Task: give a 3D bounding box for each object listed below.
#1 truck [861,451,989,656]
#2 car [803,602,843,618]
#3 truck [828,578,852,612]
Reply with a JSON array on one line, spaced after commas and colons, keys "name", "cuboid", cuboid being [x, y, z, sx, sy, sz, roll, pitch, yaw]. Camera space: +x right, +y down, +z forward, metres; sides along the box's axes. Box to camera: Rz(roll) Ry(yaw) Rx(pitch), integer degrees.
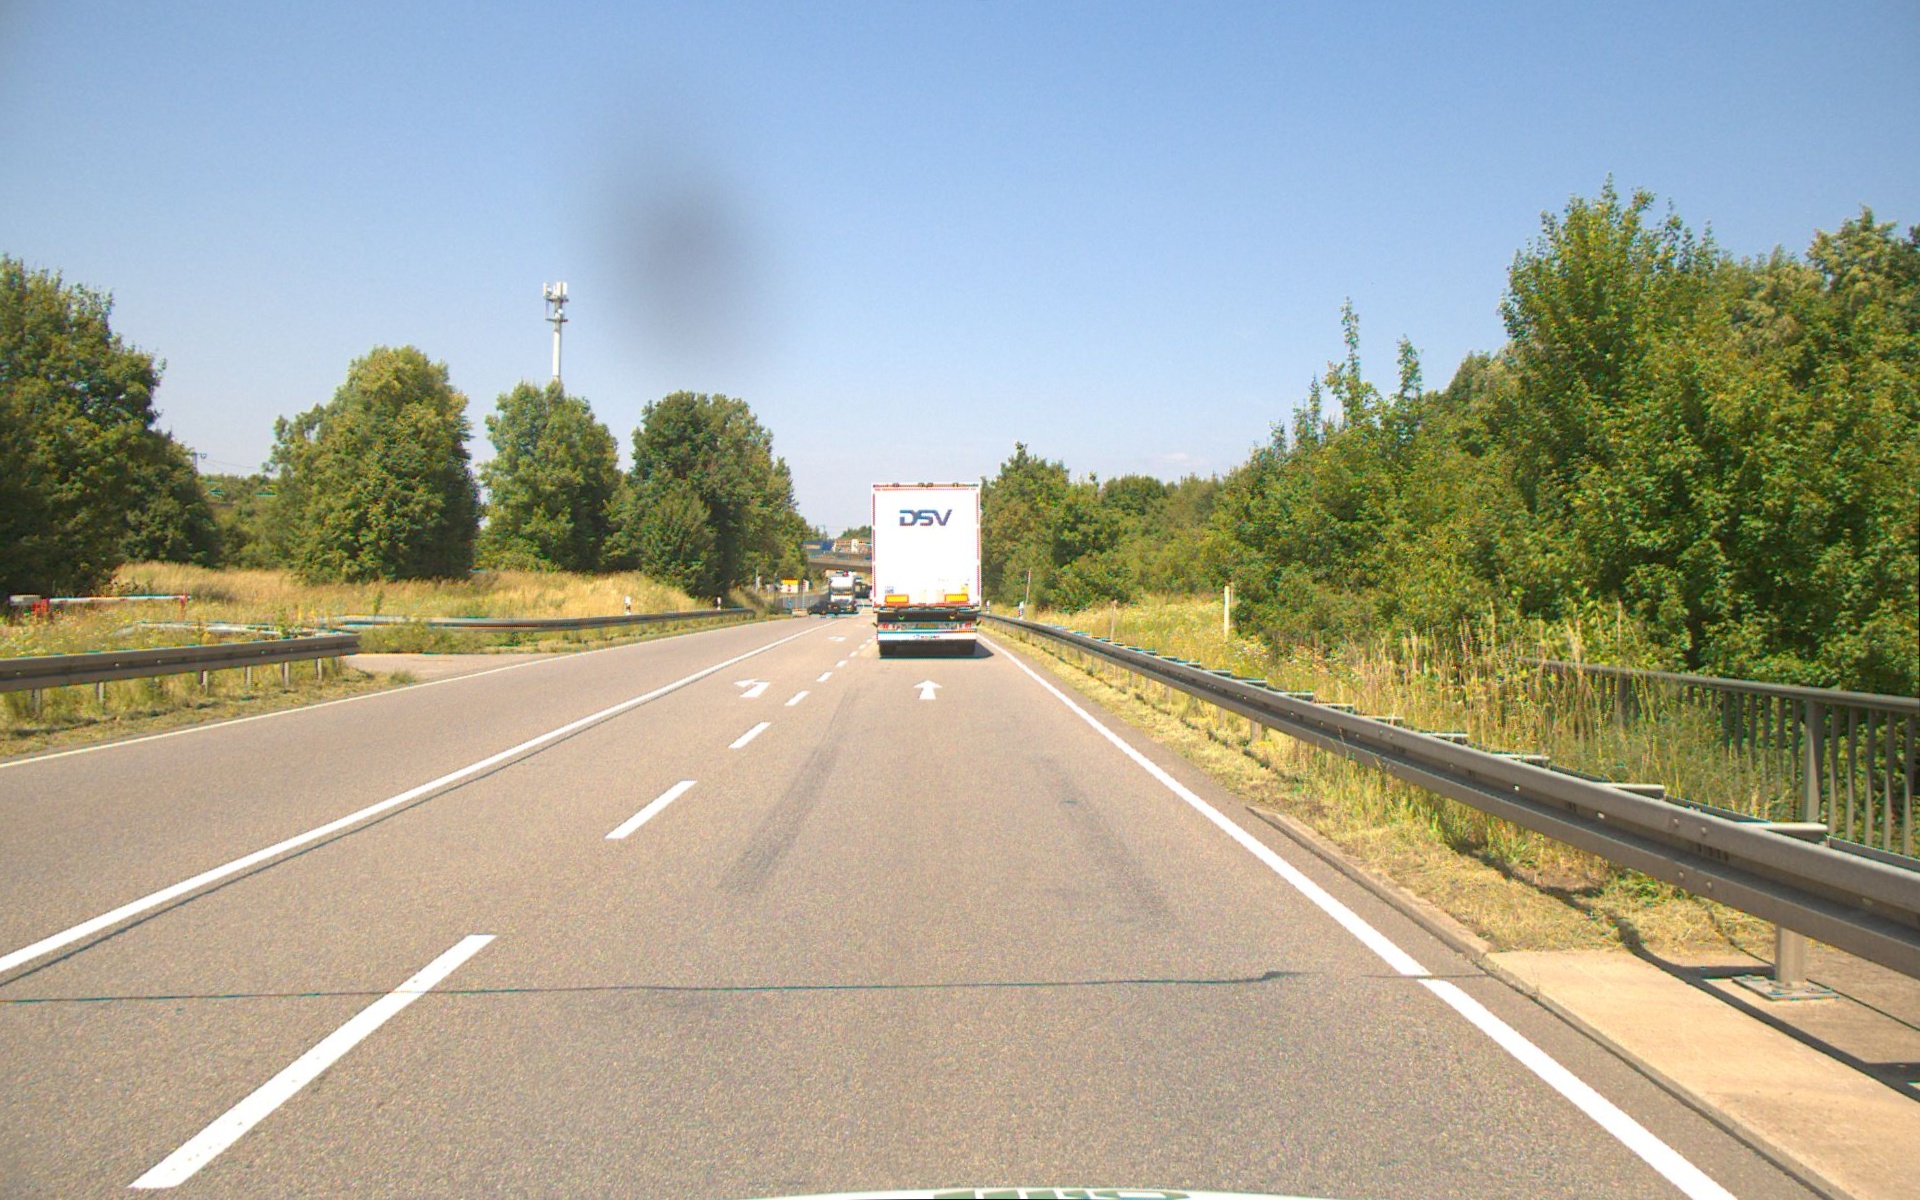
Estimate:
[{"name": "truck", "cuboid": [-0.889, -1.057, 42.636, 2.890, 4.648, 9.860, 0, 0, -1]}, {"name": "car", "cuboid": [-14.231, 1.038, 171.481, 3.816, 1.539, 1.697, 0, 0, -26]}, {"name": "truck", "cuboid": [-13.919, -0.564, 192.198, 2.306, 3.815, 12.619, 0, 0, -2]}]
